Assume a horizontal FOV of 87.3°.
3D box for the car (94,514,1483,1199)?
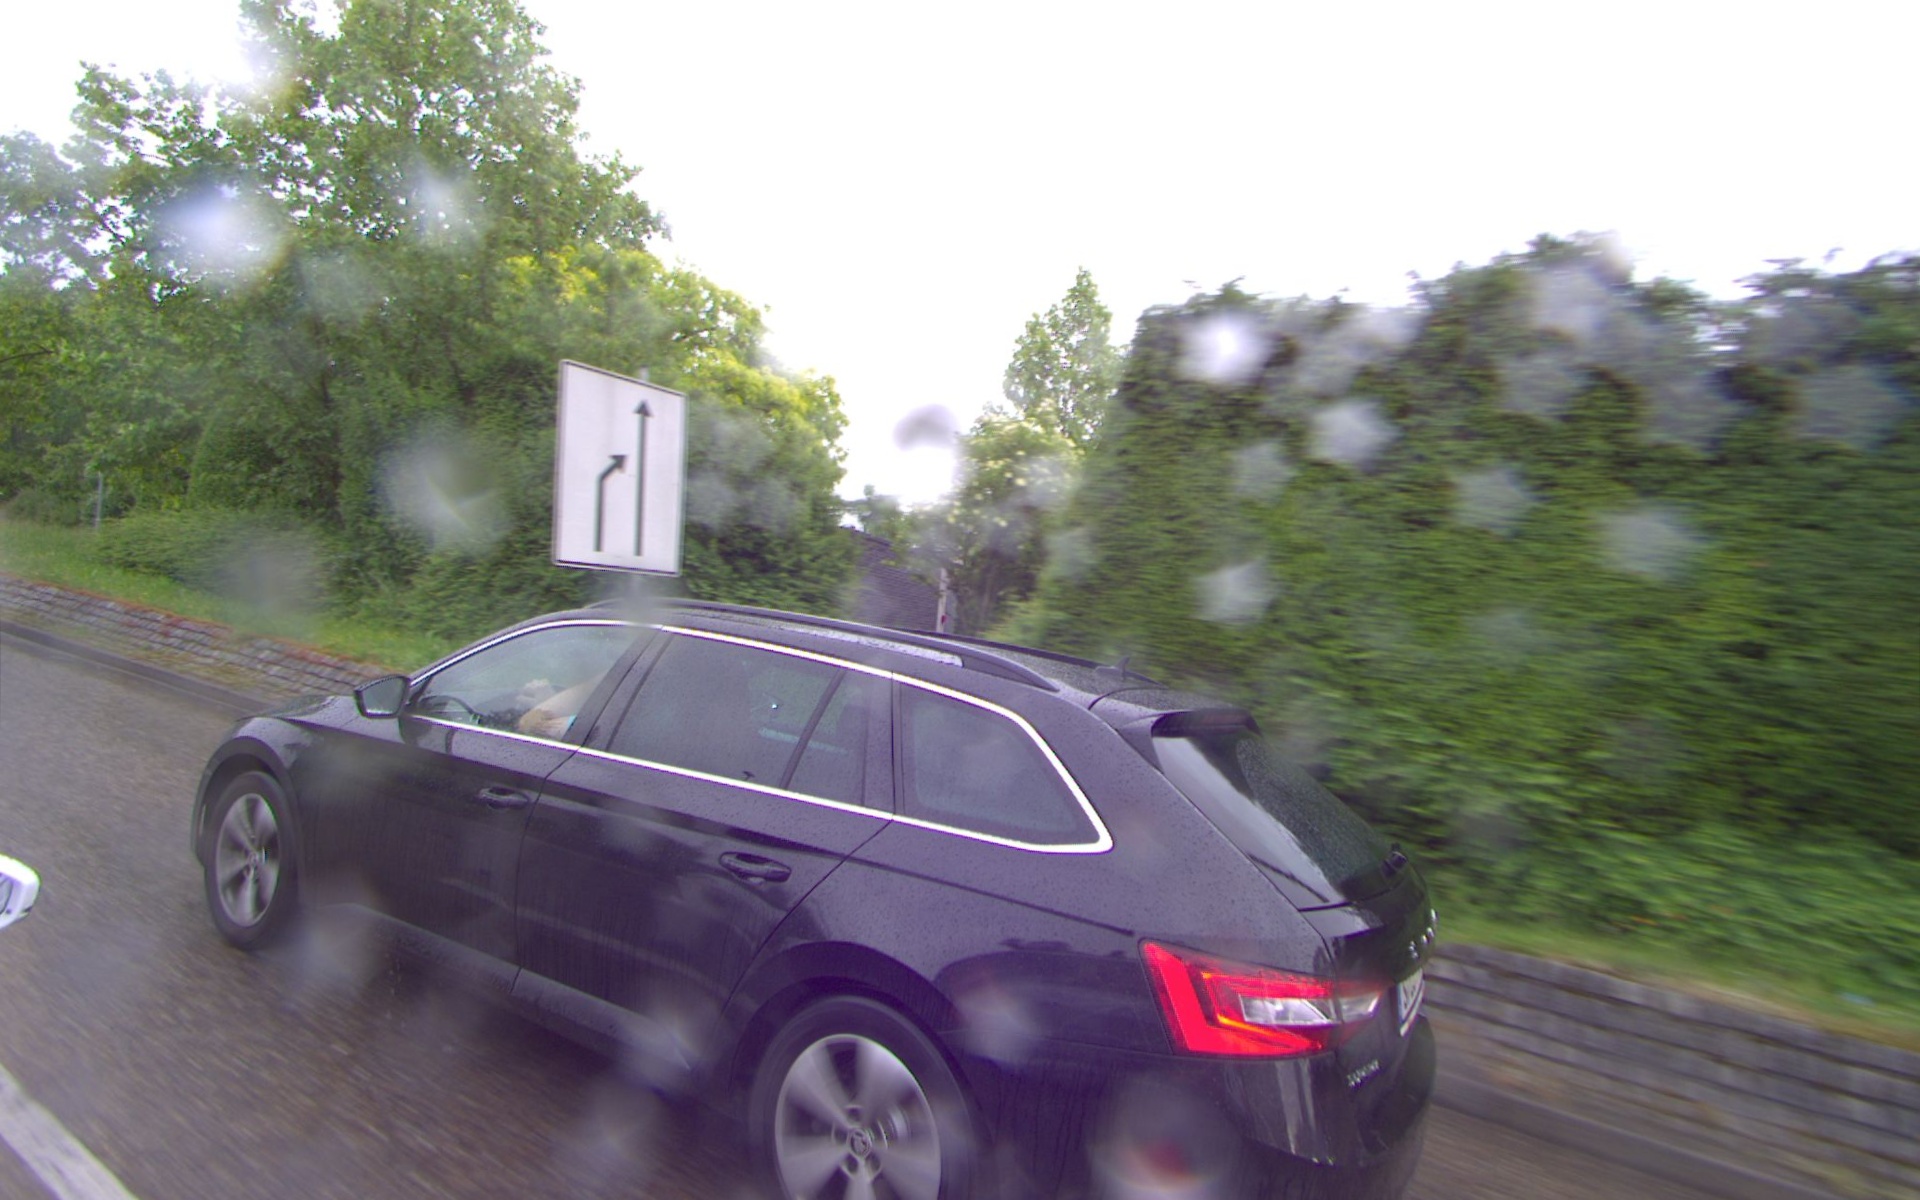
[{"bbox_3d":[-0.787,0.738,3.581,4.531,1.523,1.960,6,-4,30],"label":"car"}]
